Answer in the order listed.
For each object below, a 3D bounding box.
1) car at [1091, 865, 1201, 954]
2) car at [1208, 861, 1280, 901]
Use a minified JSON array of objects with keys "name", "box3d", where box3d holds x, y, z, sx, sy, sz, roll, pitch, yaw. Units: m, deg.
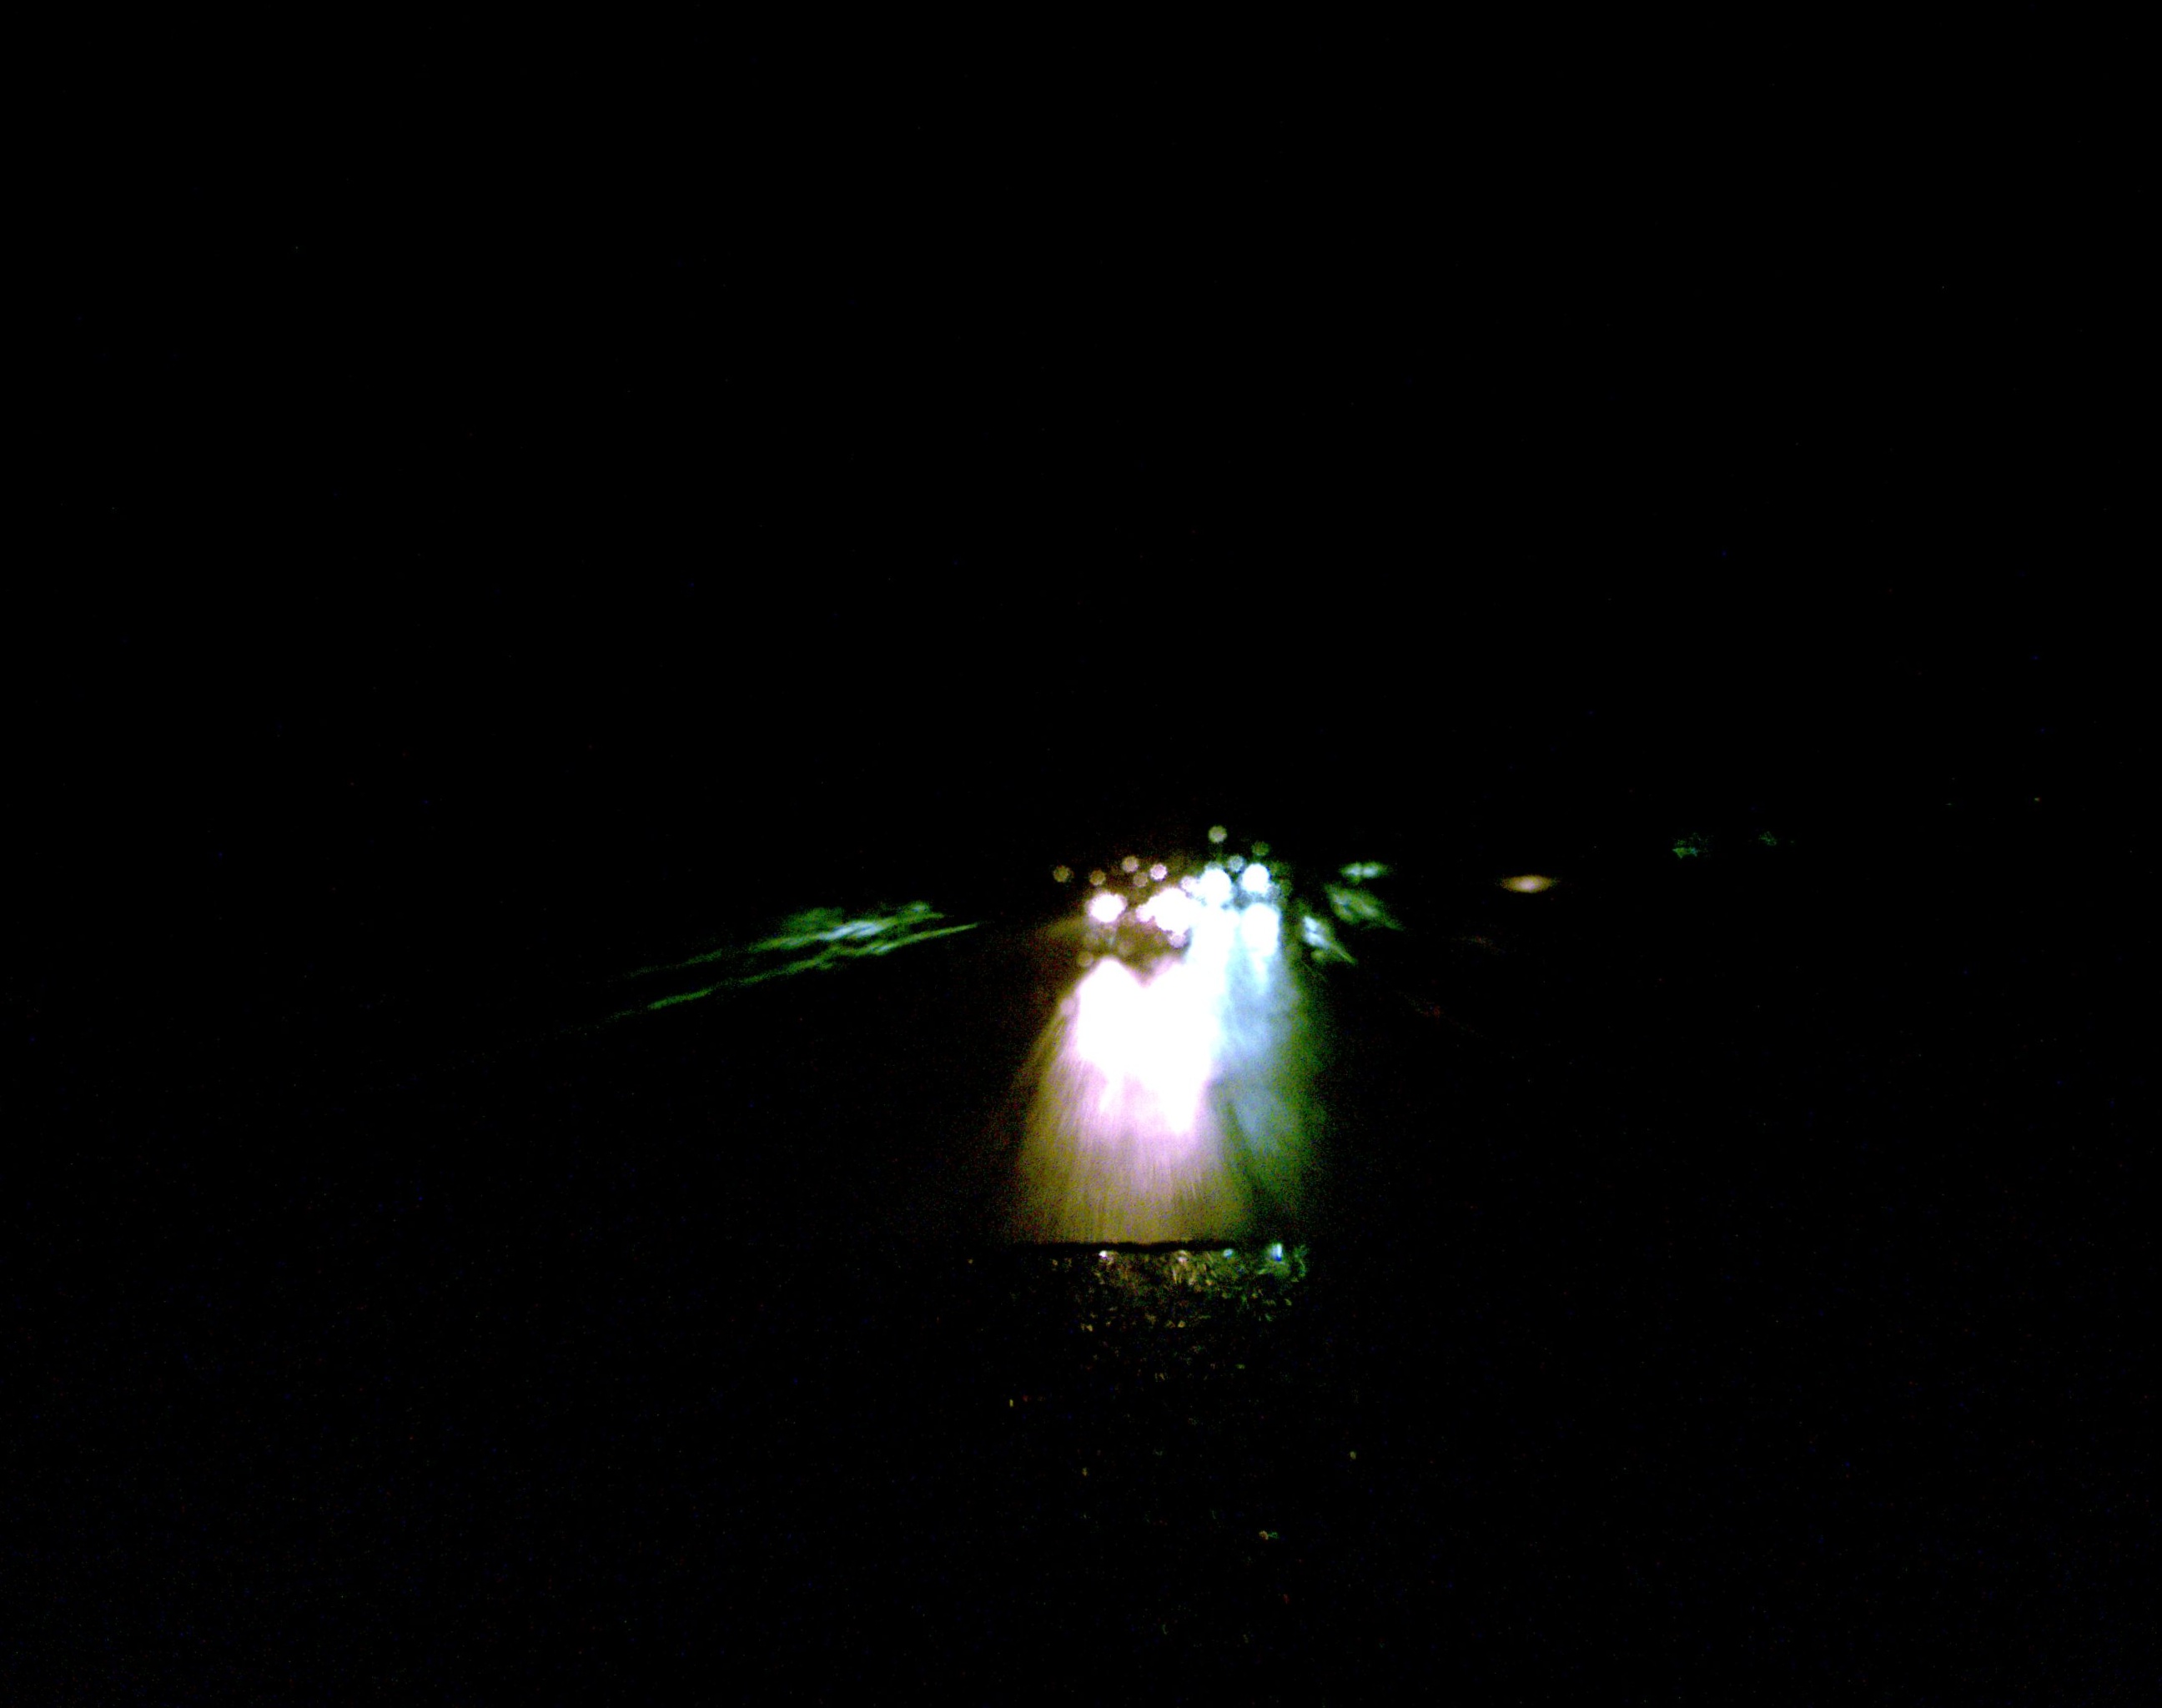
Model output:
[{"name":"car","box3d":[1.388,0.977,14.844,1.685,1.442,3.645,-1,0,12]},{"name":"car","box3d":[6.053,0.963,27.933,1.757,1.304,4.092,-2,-1,24]}]
